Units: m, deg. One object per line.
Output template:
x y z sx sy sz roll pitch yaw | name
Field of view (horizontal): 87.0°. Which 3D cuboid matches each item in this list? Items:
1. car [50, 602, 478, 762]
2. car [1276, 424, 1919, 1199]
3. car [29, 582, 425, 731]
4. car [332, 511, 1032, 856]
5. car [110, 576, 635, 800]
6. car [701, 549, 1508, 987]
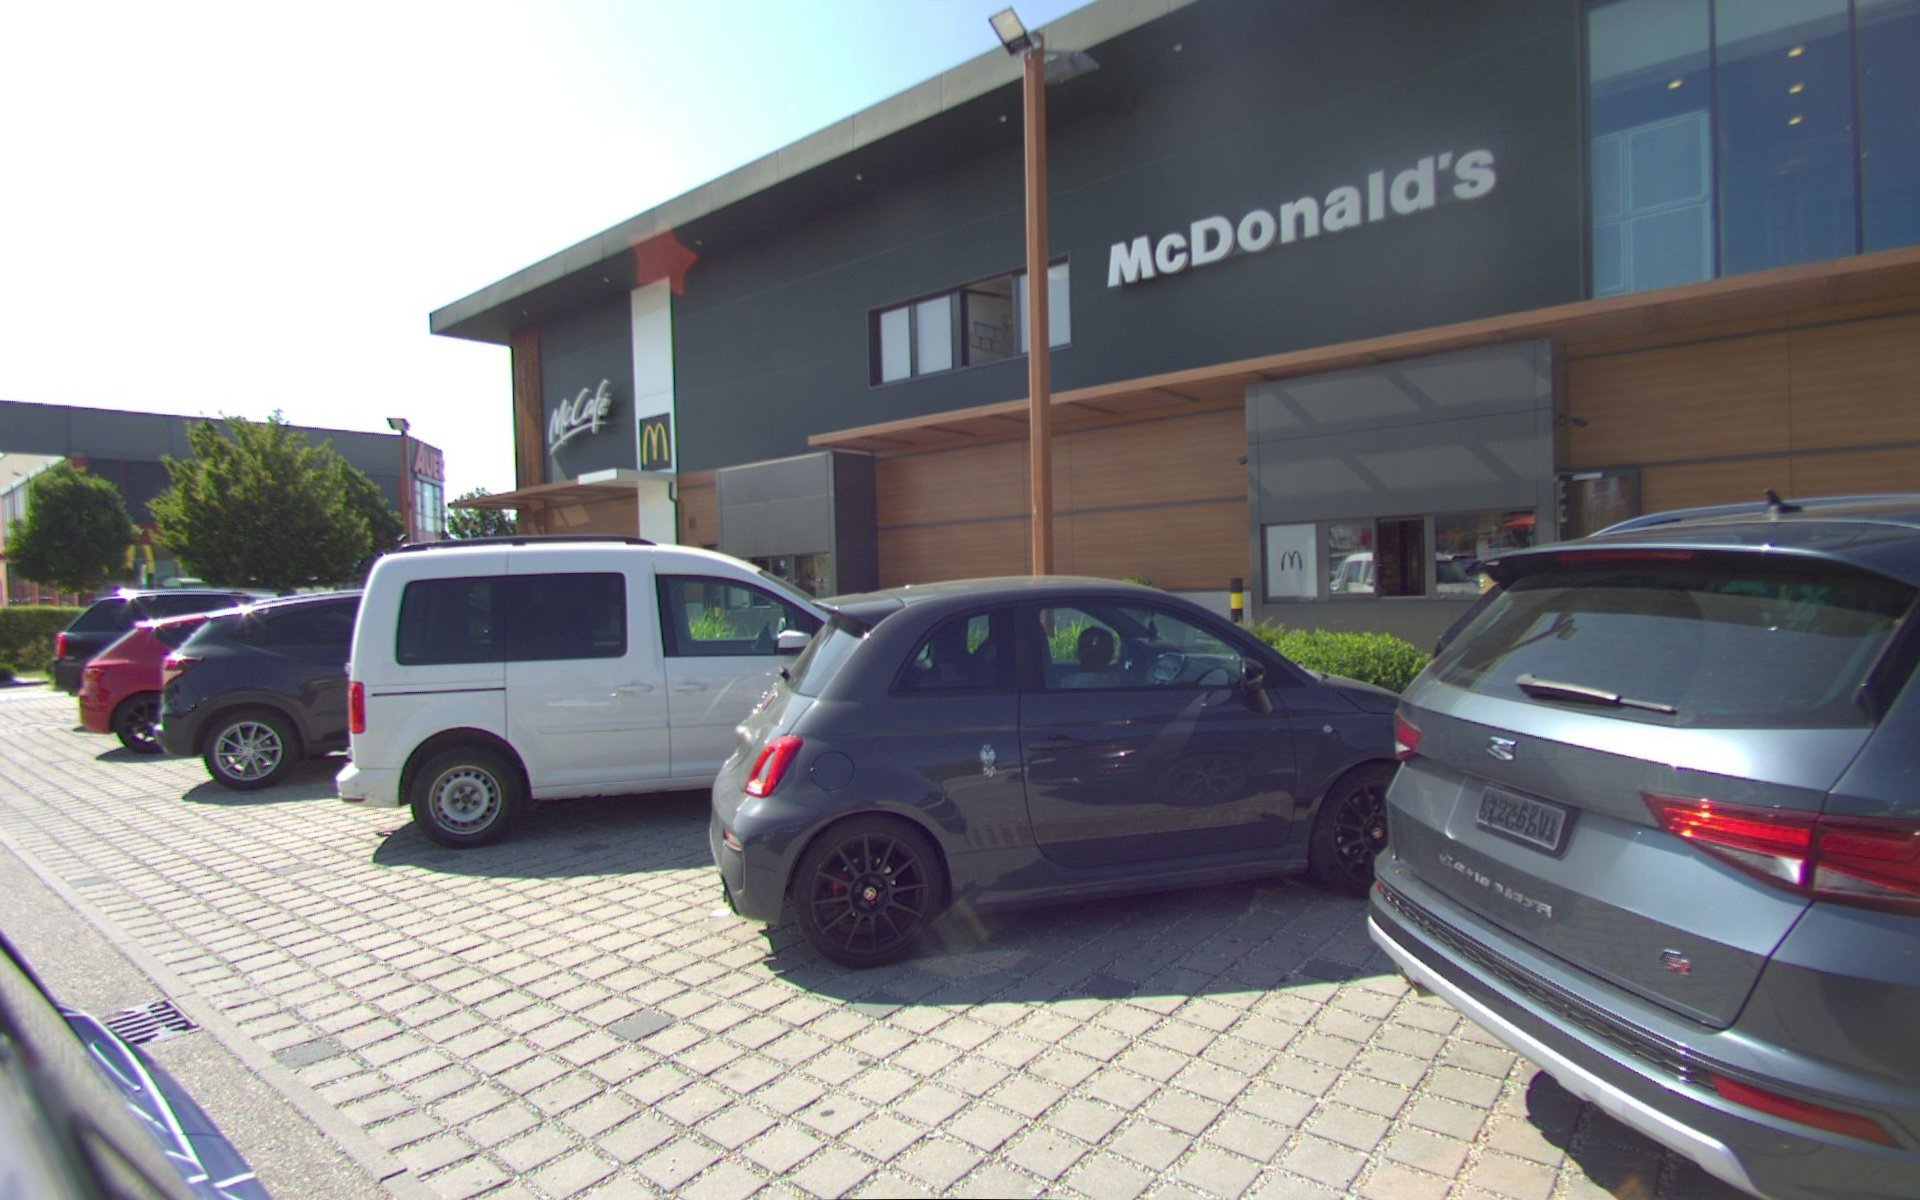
-7.632 0.822 11.553 3.707 1.455 1.680 -2 0 -22 | car
3.140 0.436 2.322 4.163 1.615 1.793 -4 2 -6 | car
-9.710 0.683 13.739 3.972 1.718 1.679 -2 1 -12 | car
-1.735 0.446 7.027 4.077 1.936 1.762 -1 0 -11 | car
-4.957 0.665 9.155 3.779 1.644 1.763 -2 0 -17 | car
0.540 0.582 4.774 3.358 1.493 1.572 -2 0 -14 | car
